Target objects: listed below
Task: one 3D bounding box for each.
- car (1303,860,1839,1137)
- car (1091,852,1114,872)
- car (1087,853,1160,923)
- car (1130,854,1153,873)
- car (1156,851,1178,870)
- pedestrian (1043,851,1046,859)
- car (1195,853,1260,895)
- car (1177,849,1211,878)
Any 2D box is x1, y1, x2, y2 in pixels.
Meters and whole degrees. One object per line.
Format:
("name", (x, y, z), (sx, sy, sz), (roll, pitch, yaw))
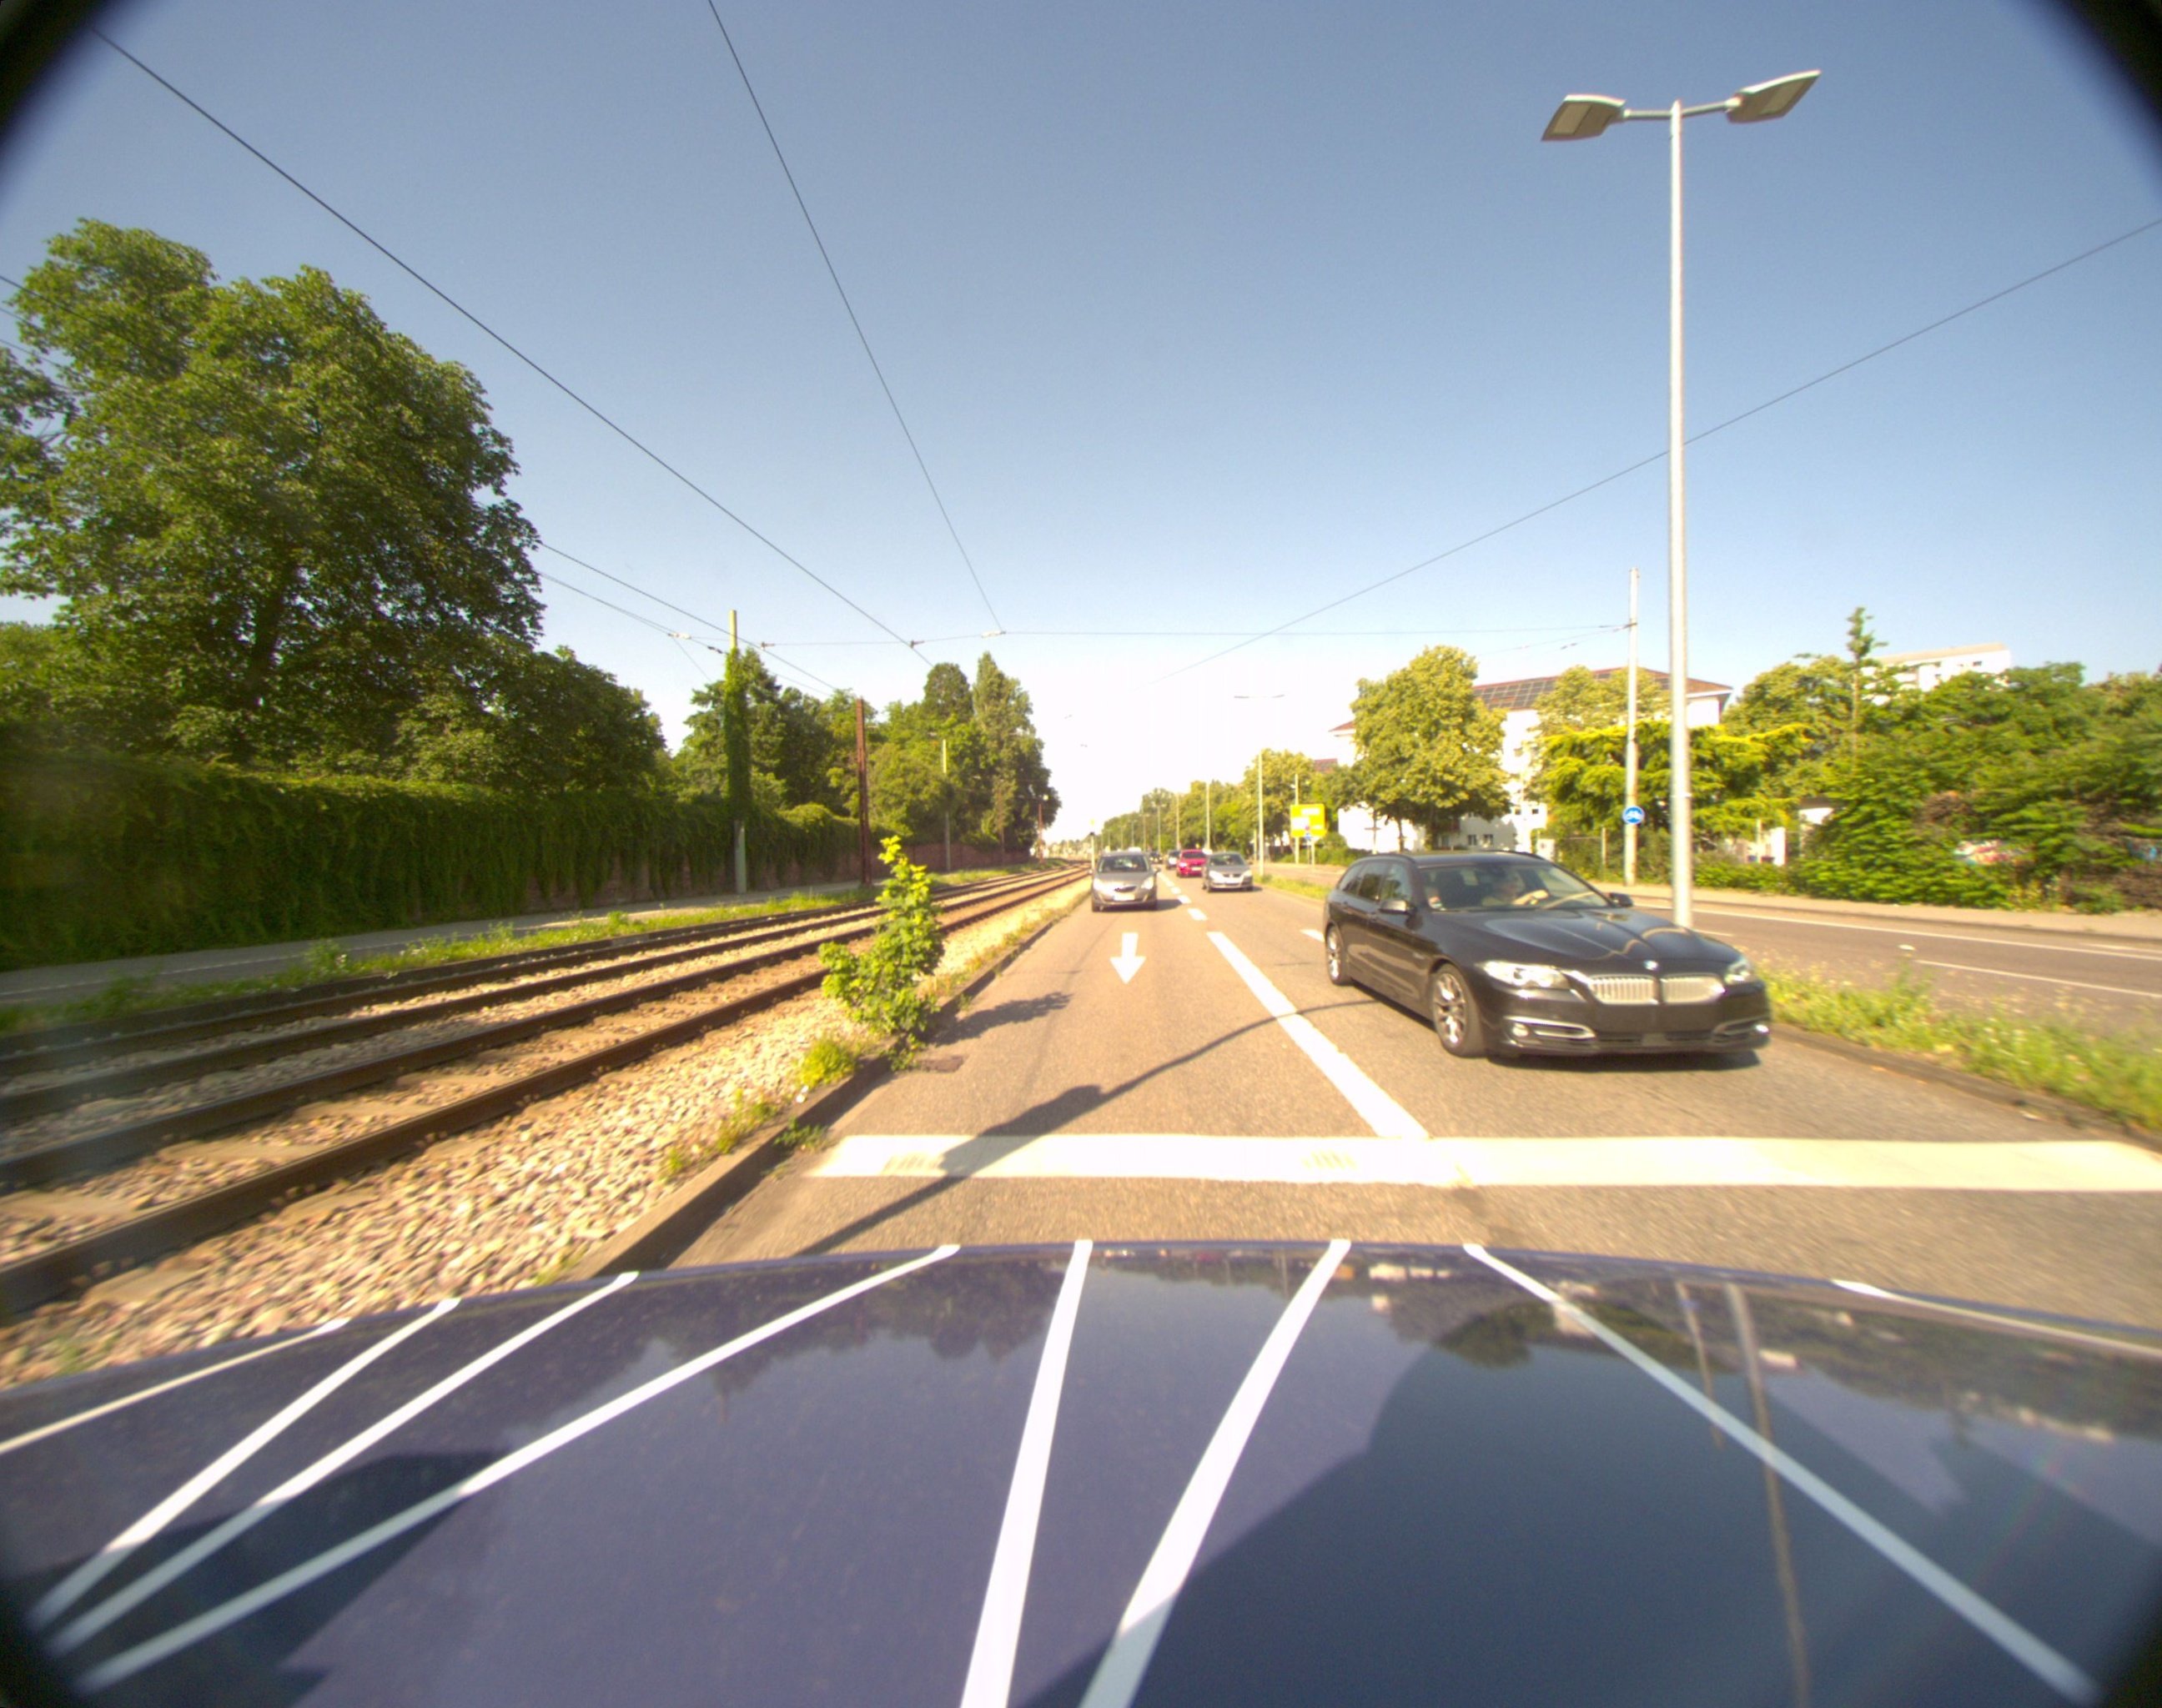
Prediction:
("car", (3.486, 0.856, 6.685), (1.764, 1.477, 4.645), (-2, 0, 1))
("car", (1.822, 0.657, 63.414), (1.709, 1.513, 3.834), (-2, 0, 4))
("car", (1.142, 0.788, 19.707), (1.650, 1.581, 3.834), (-2, 0, 4))
("car", (4.968, 0.778, 62.992), (1.710, 1.513, 3.833), (-2, 0, 2))
("car", (7.268, 0.552, 64.314), (1.709, 1.513, 3.834), (-2, 0, 4))
("pedestrian", (-7.685, 0.202, 159.140), (0.501, 1.706, 0.885), (0, 1, 5))
("car", (5.423, 0.698, 28.599), (1.692, 1.420, 3.833), (-2, 0, 0))
("car", (6.570, 0.506, 44.500), (1.692, 1.573, 3.834), (-2, 0, 5))
